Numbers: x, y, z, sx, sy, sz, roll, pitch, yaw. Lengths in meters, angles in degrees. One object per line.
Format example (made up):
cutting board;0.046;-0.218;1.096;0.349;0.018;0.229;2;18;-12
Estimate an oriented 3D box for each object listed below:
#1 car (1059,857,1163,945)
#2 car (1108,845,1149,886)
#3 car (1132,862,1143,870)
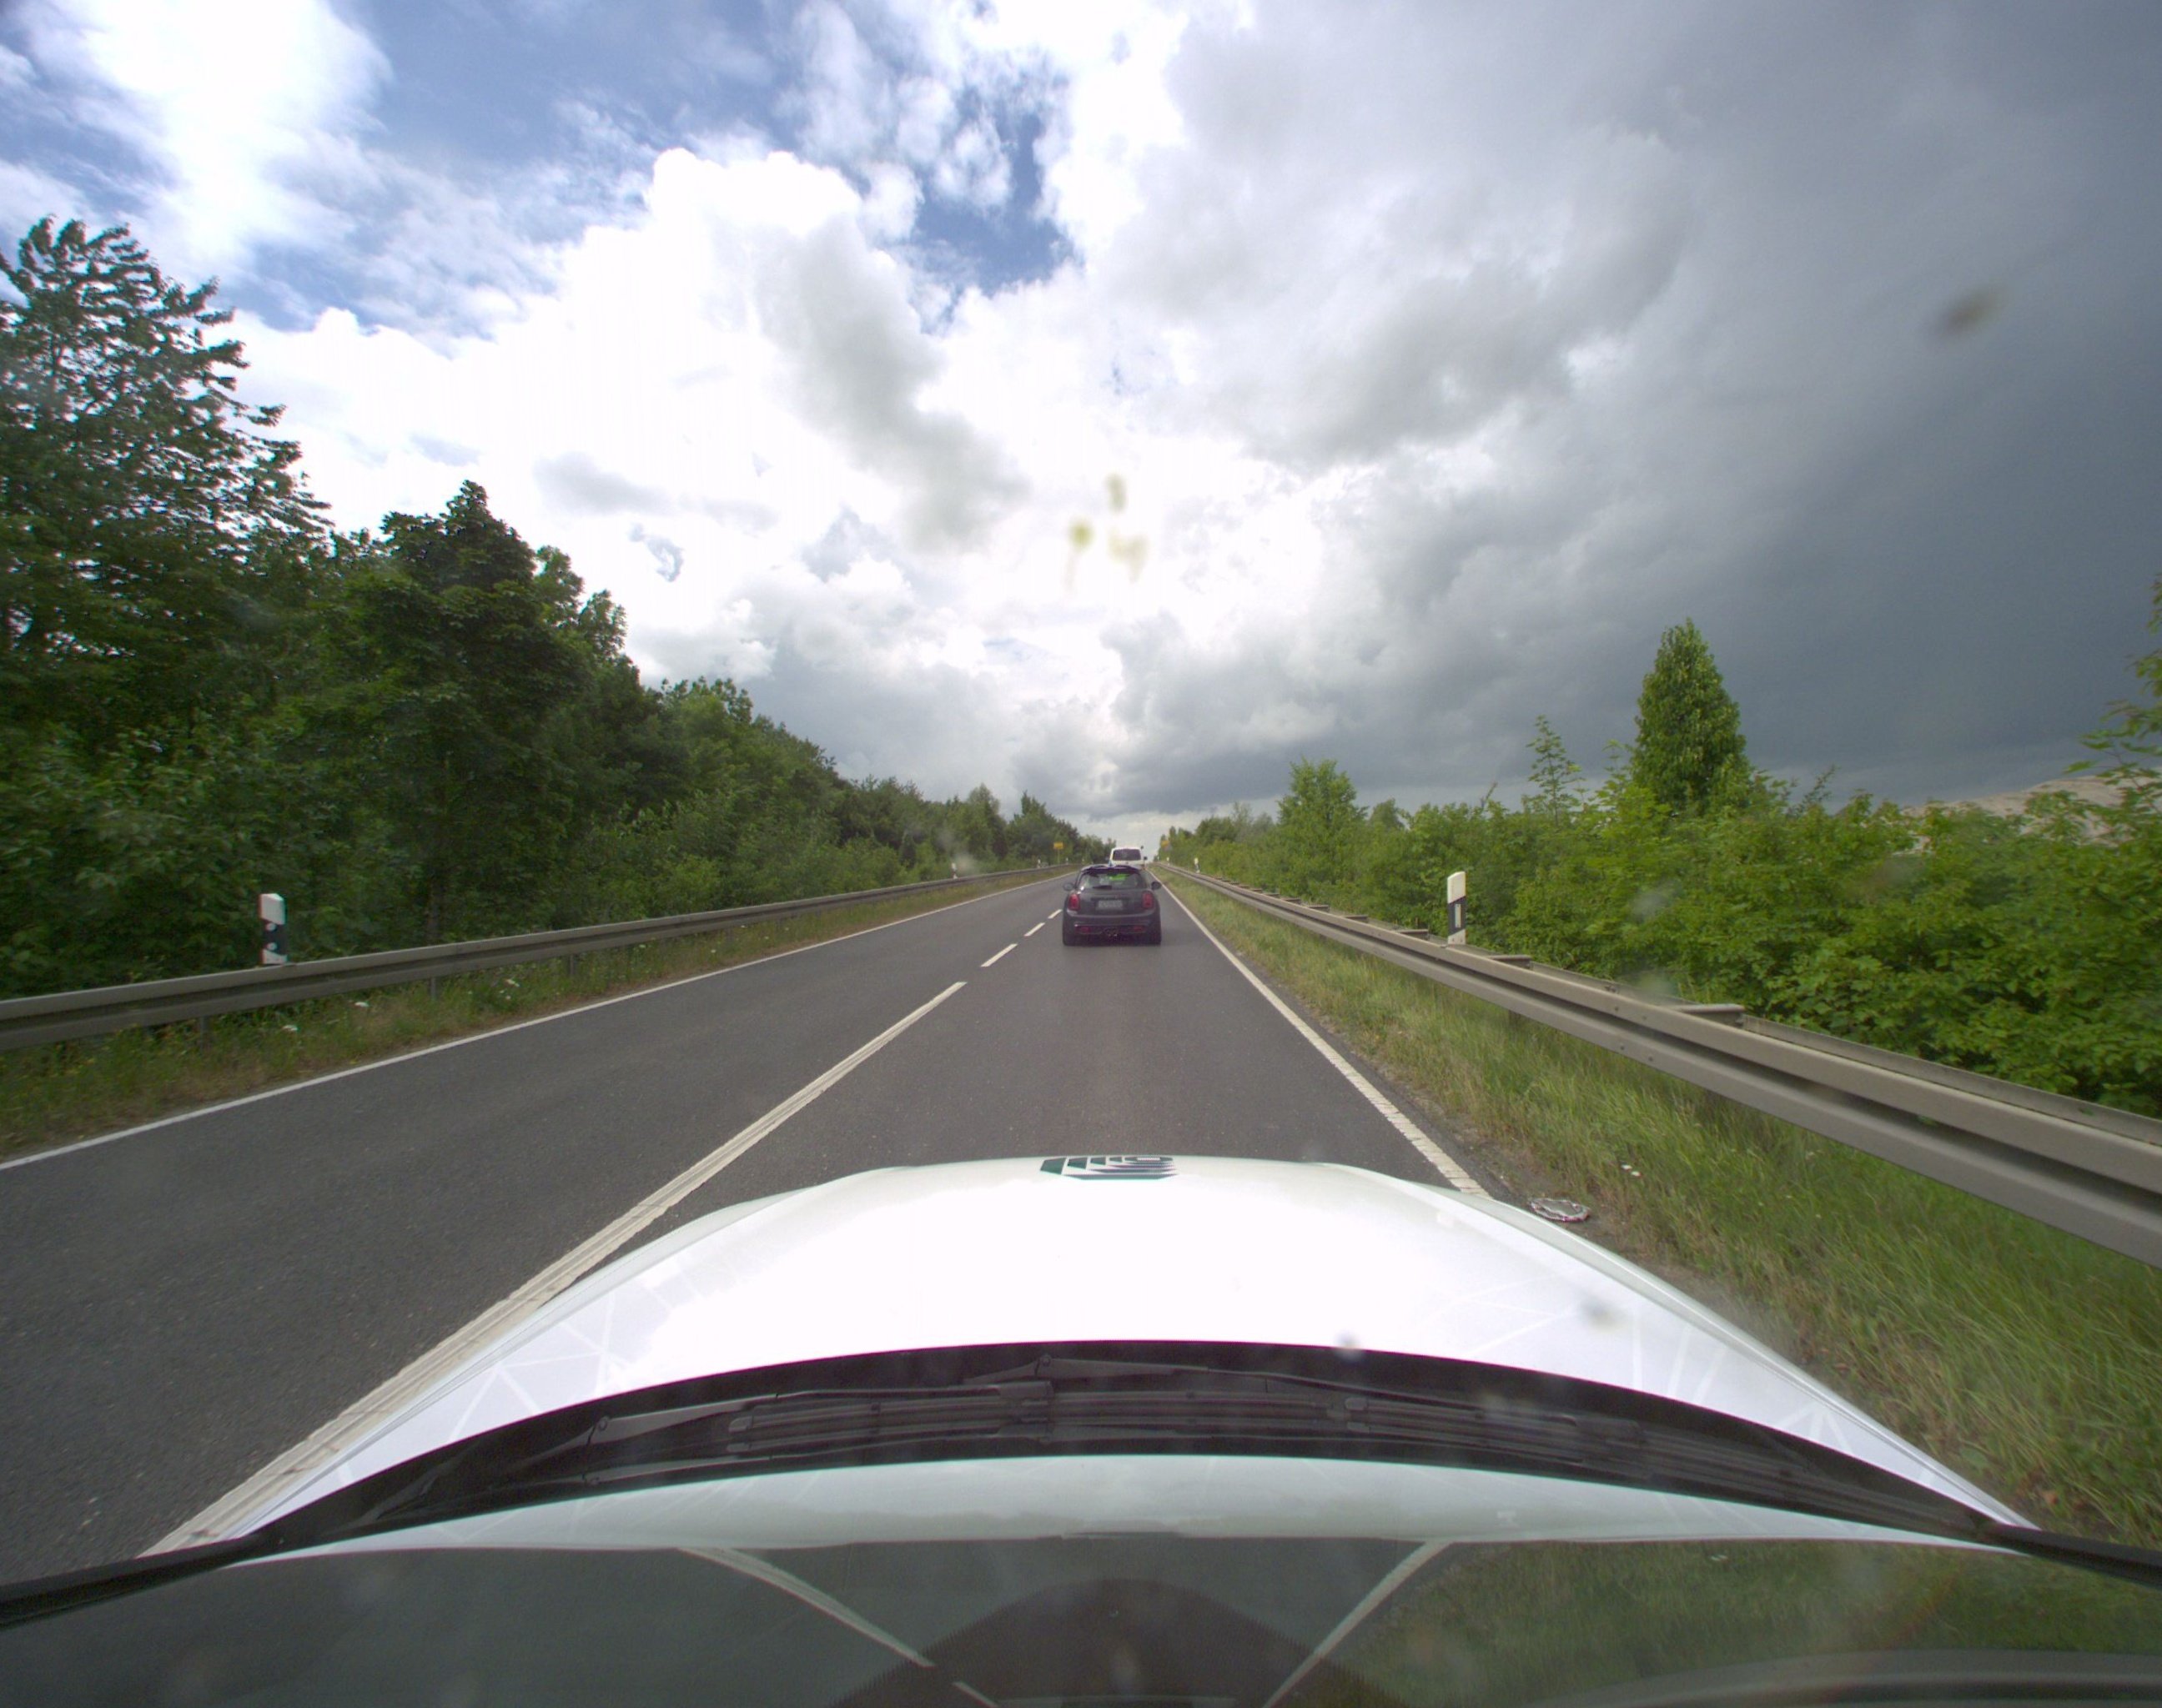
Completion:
car;0.523;0.808;15.788;1.726;1.456;4.000;-1;0;0
car;2.512;0.580;42.310;2.013;2.013;4.005;0;0;4
car;10.270;2.128;147.634;1.686;1.319;4.006;-3;0;6
